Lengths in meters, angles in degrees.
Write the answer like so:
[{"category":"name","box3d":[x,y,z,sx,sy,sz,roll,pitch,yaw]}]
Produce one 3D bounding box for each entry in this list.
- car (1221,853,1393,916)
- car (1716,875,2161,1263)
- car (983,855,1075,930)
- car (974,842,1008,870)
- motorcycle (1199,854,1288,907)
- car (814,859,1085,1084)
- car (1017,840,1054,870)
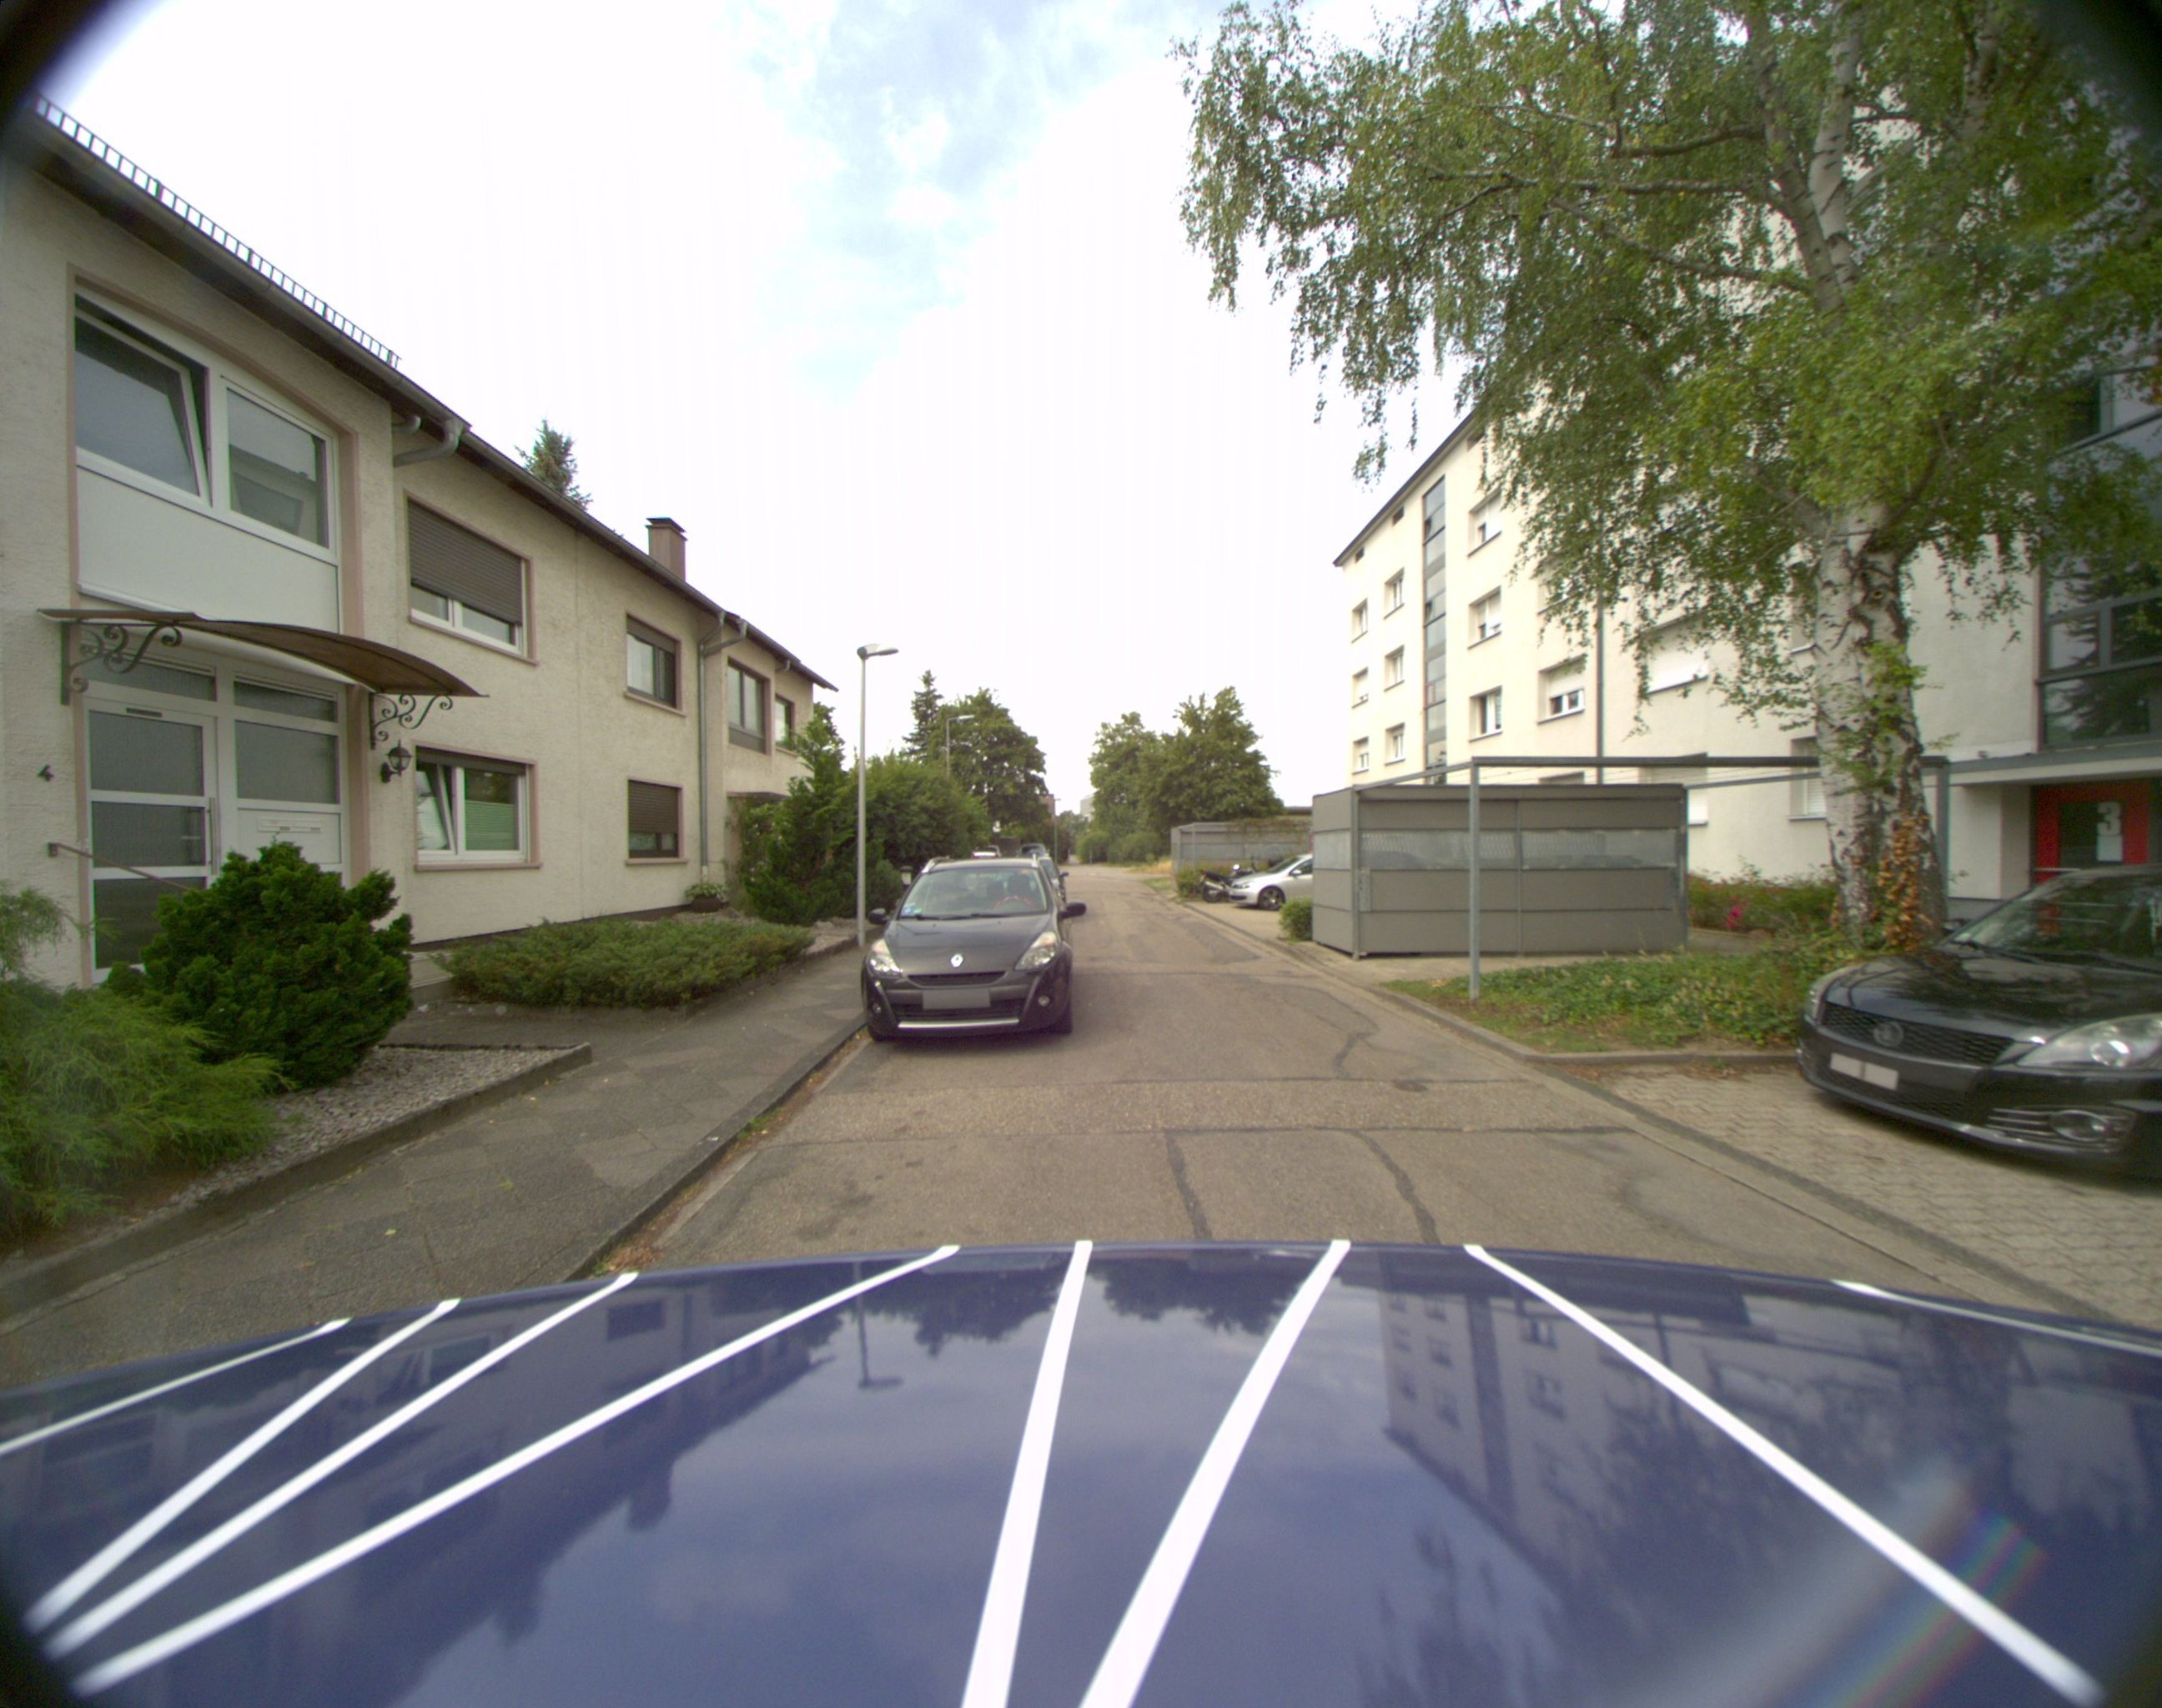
[{"category":"car","box3d":[5.938,0.784,20.353,3.997,1.477,1.902,1,1,1]},{"category":"car","box3d":[6.099,0.901,3.983,4.062,1.496,1.781,0,1,-1]},{"category":"car","box3d":[-1.164,0.785,17.677,1.834,1.449,4.188,-2,1,-3]},{"category":"car","box3d":[-5.136,0.073,43.744,1.705,1.458,3.997,0,2,-3]},{"category":"motorcycle","box3d":[4.690,0.756,22.007,2.383,1.456,0.714,1,1,-1]},{"category":"car","box3d":[-1.008,0.828,7.401,1.834,1.449,4.188,-2,1,-3]},{"category":"car","box3d":[-2.570,0.025,43.165,1.926,1.576,3.998,-2,1,-3]}]
